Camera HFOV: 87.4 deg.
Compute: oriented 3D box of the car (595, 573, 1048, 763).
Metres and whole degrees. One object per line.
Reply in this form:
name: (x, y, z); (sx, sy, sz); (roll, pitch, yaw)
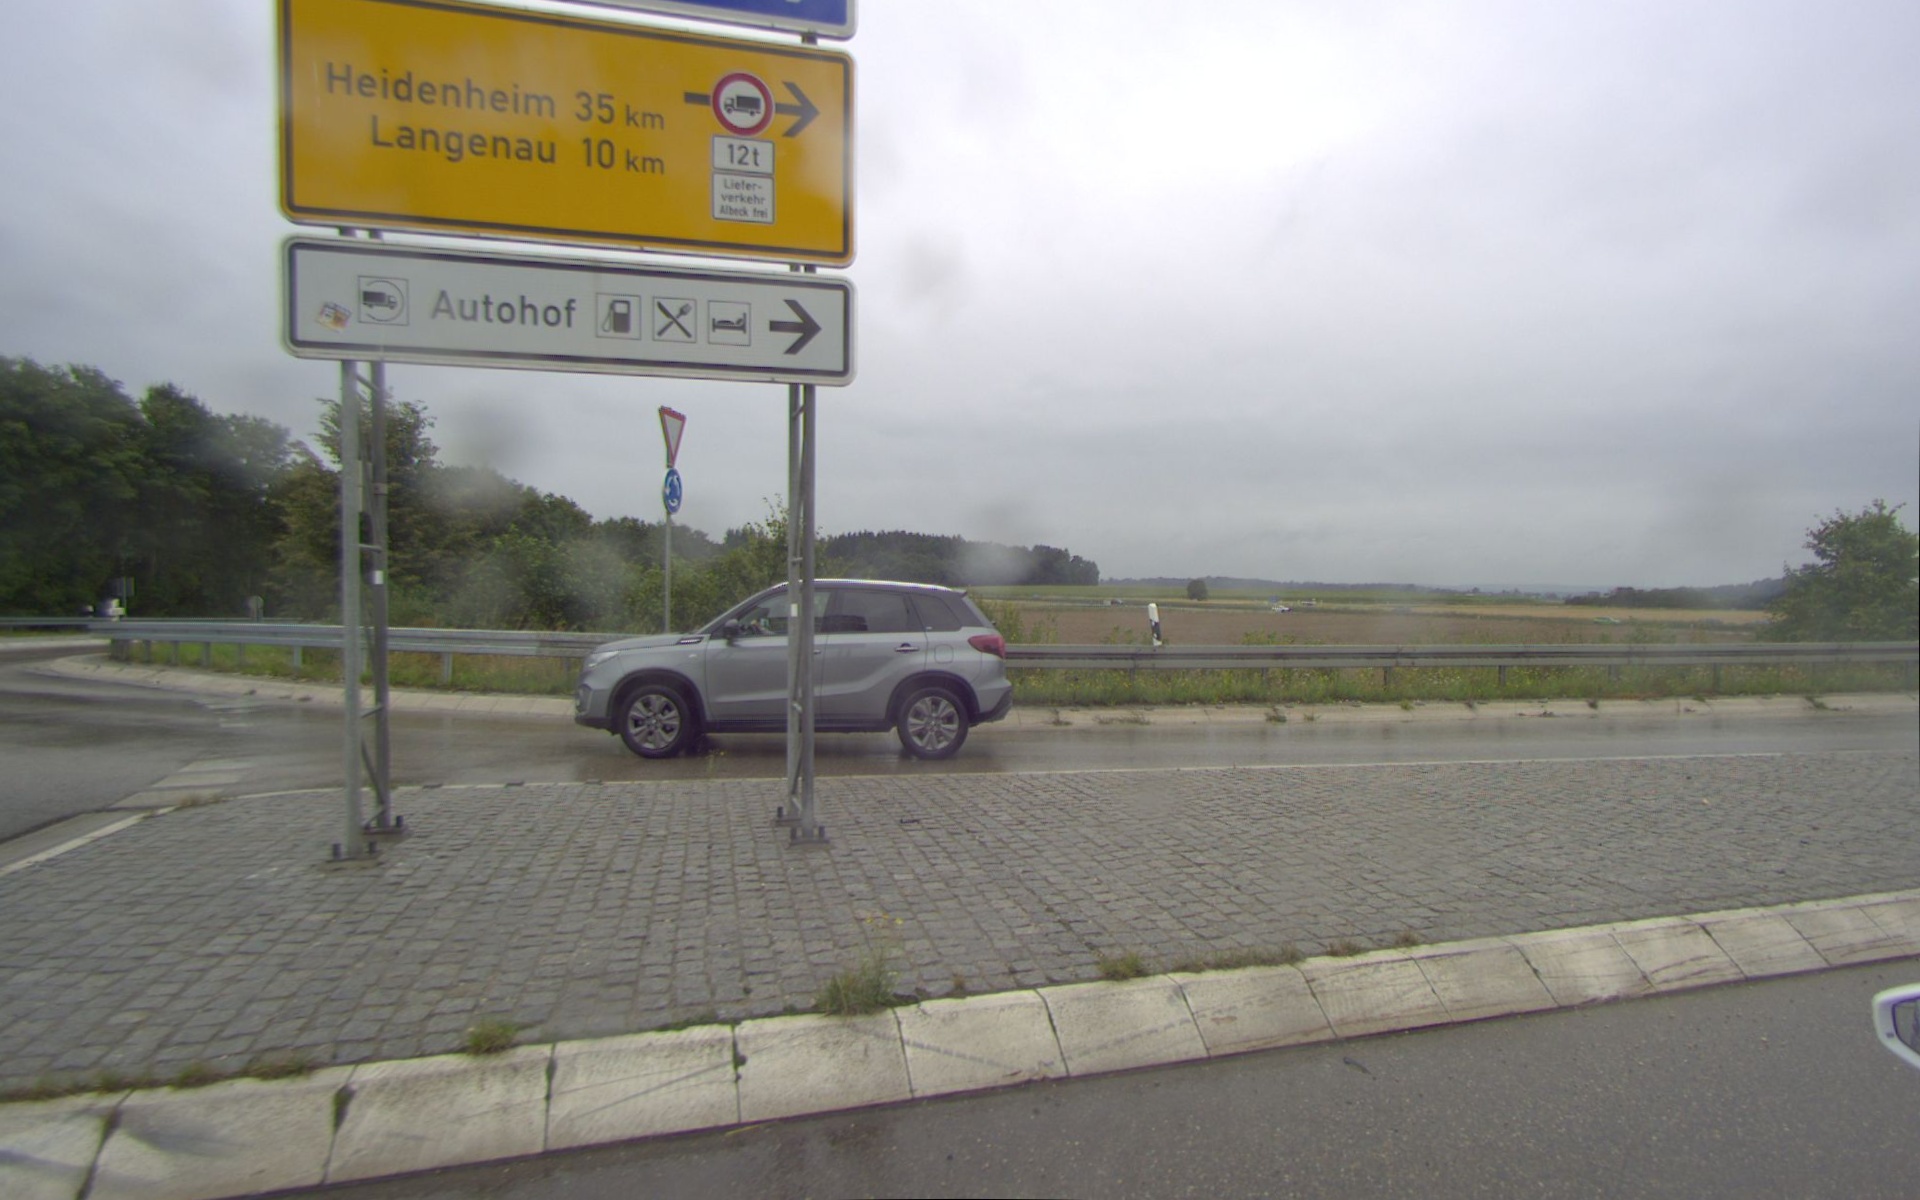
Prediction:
car: (-1.230, 0.619, 9.721); (3.923, 1.596, 1.806); (1, -1, -3)
